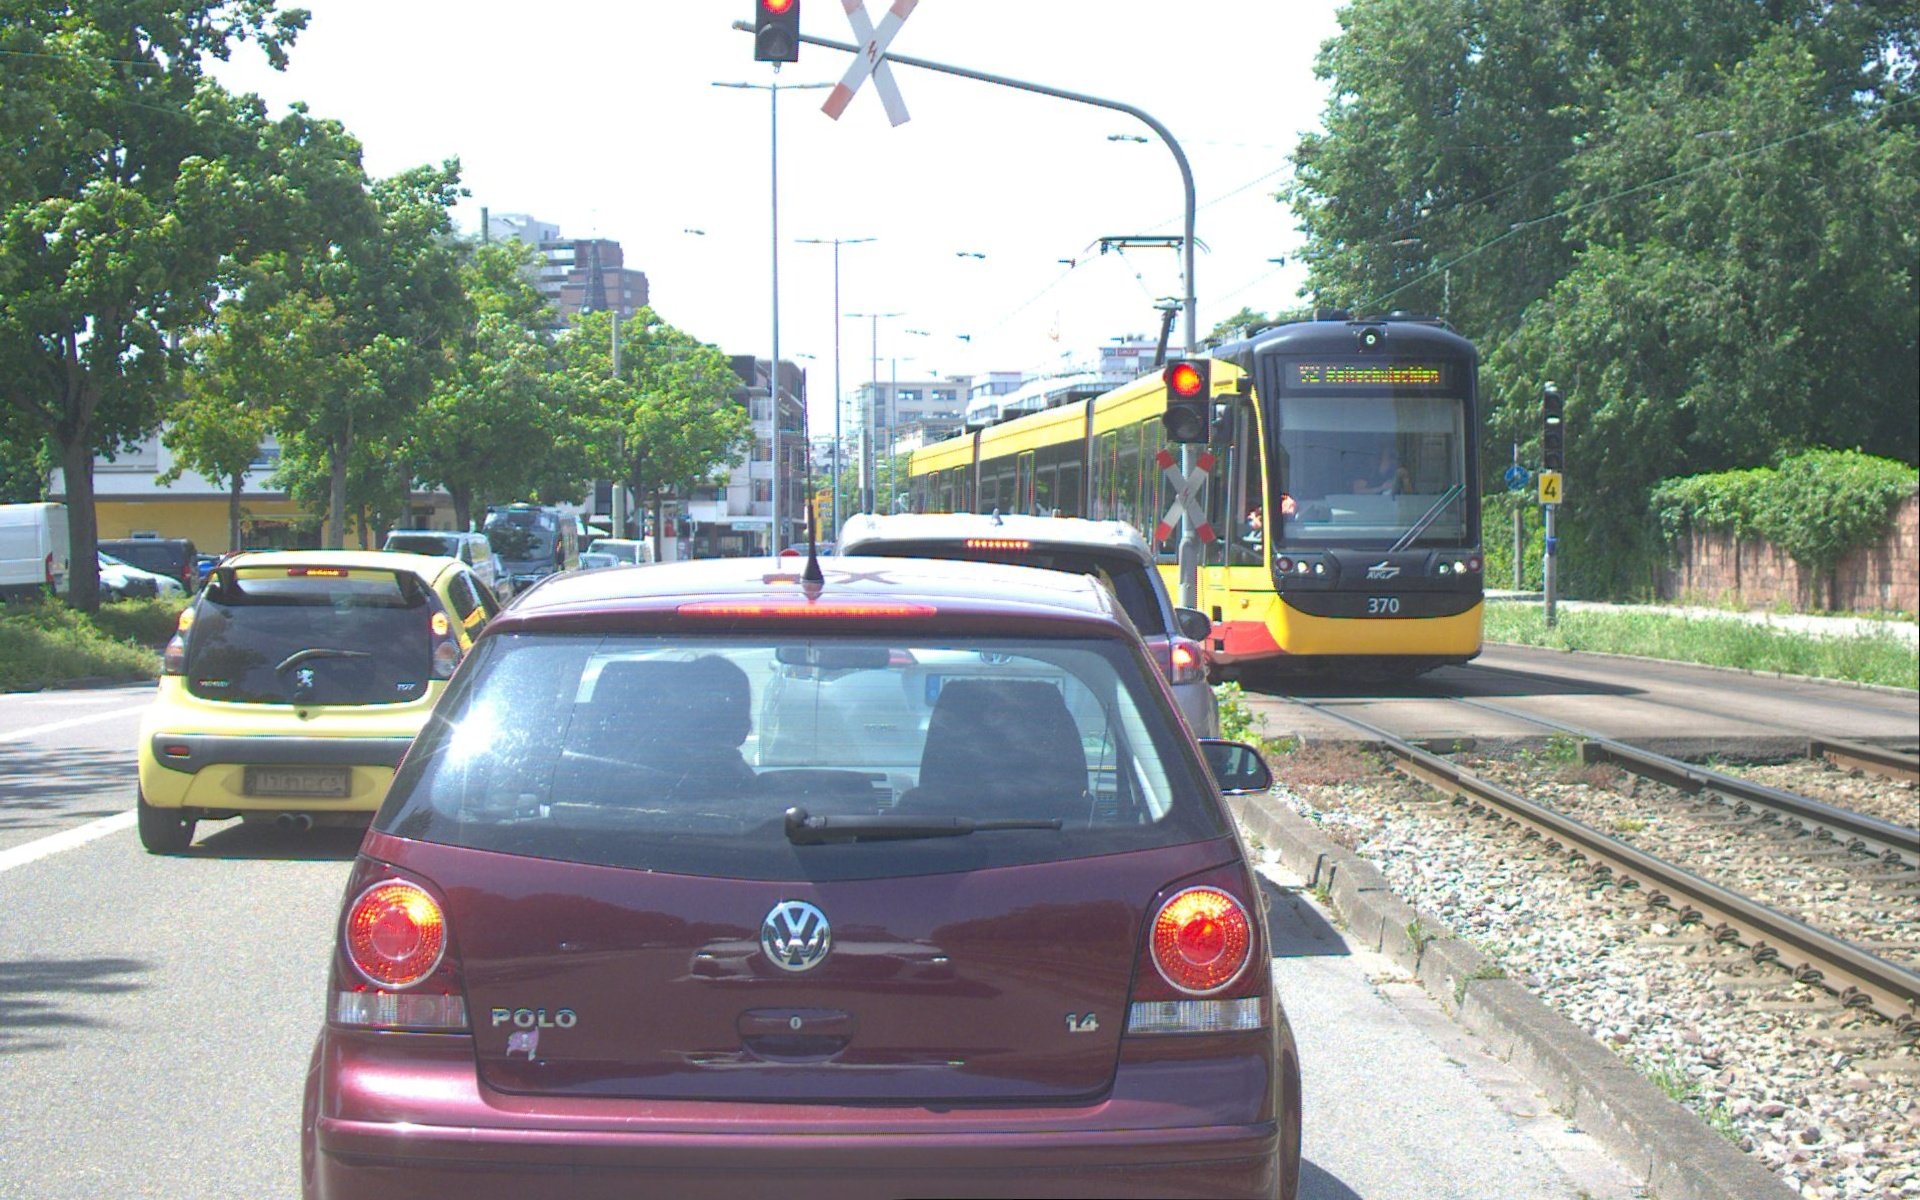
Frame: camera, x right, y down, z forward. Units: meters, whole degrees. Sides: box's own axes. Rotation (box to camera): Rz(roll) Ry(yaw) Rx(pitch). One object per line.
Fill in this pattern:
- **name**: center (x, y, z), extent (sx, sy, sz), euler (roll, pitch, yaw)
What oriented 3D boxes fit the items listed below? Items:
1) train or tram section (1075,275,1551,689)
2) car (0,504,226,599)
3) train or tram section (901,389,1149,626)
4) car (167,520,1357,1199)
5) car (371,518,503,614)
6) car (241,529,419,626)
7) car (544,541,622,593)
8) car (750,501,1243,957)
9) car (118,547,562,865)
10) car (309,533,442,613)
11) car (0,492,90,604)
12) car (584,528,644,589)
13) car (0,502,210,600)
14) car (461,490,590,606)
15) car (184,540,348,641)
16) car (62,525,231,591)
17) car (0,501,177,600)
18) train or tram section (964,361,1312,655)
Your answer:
- **train or tram section**: center (3.358, -1.195, 36.967), extent (2.740, 3.597, 12.872), euler (2, 1, -4)
- **car**: center (-21.515, -1.225, 87.425), extent (5.097, 2.237, 2.378), euler (2, 0, 1)
- **train or tram section**: center (0.925, -1.568, 58.968), extent (2.740, 3.597, 10.953), euler (2, 1, -6)
- **car**: center (-0.332, 0.622, 6.902), extent (1.672, 1.516, 4.000), euler (1, 1, -1)
- **car**: center (-10.787, -0.685, 71.197), extent (1.783, 1.875, 4.785), euler (2, 0, 2)
- **car**: center (-11.115, -0.400, 60.960), extent (1.976, 1.595, 4.557), euler (2, 0, 4)
- **car**: center (-11.068, -0.962, 101.258), extent (1.614, 1.436, 4.000), euler (2, 0, 3)
- **car**: center (0.088, 0.435, 14.654), extent (1.777, 1.641, 4.000), euler (1, 1, -1)
- **car**: center (-3.063, 0.463, 17.616), extent (1.690, 1.406, 3.516), euler (1, 1, -1)
- **car**: center (-11.100, -0.503, 65.519), extent (1.614, 1.436, 4.000), euler (2, 0, 3)
- **car**: center (-20.848, -1.123, 70.944), extent (5.097, 2.237, 2.378), euler (2, 0, 1)
- **car**: center (-10.809, -1.301, 107.521), extent (1.774, 1.822, 4.001), euler (2, 0, -6)
- **car**: center (-21.343, -1.205, 84.745), extent (5.097, 2.237, 2.378), euler (2, 0, 1)
- **car**: center (-10.598, -1.238, 84.236), extent (2.361, 2.683, 5.307), euler (2, 0, 0)
- **car**: center (-10.938, -0.152, 54.413), extent (1.663, 1.491, 4.000), euler (2, 0, 1)
- **car**: center (-21.686, -1.110, 91.750), extent (4.020, 1.611, 1.816), euler (2, 0, 1)
- **car**: center (-21.594, -1.198, 82.273), extent (5.097, 2.237, 2.378), euler (2, 0, 1)
- **train or tram section**: center (2.245, -1.289, 48.479), extent (2.740, 3.597, 10.953), euler (2, 1, -8)
